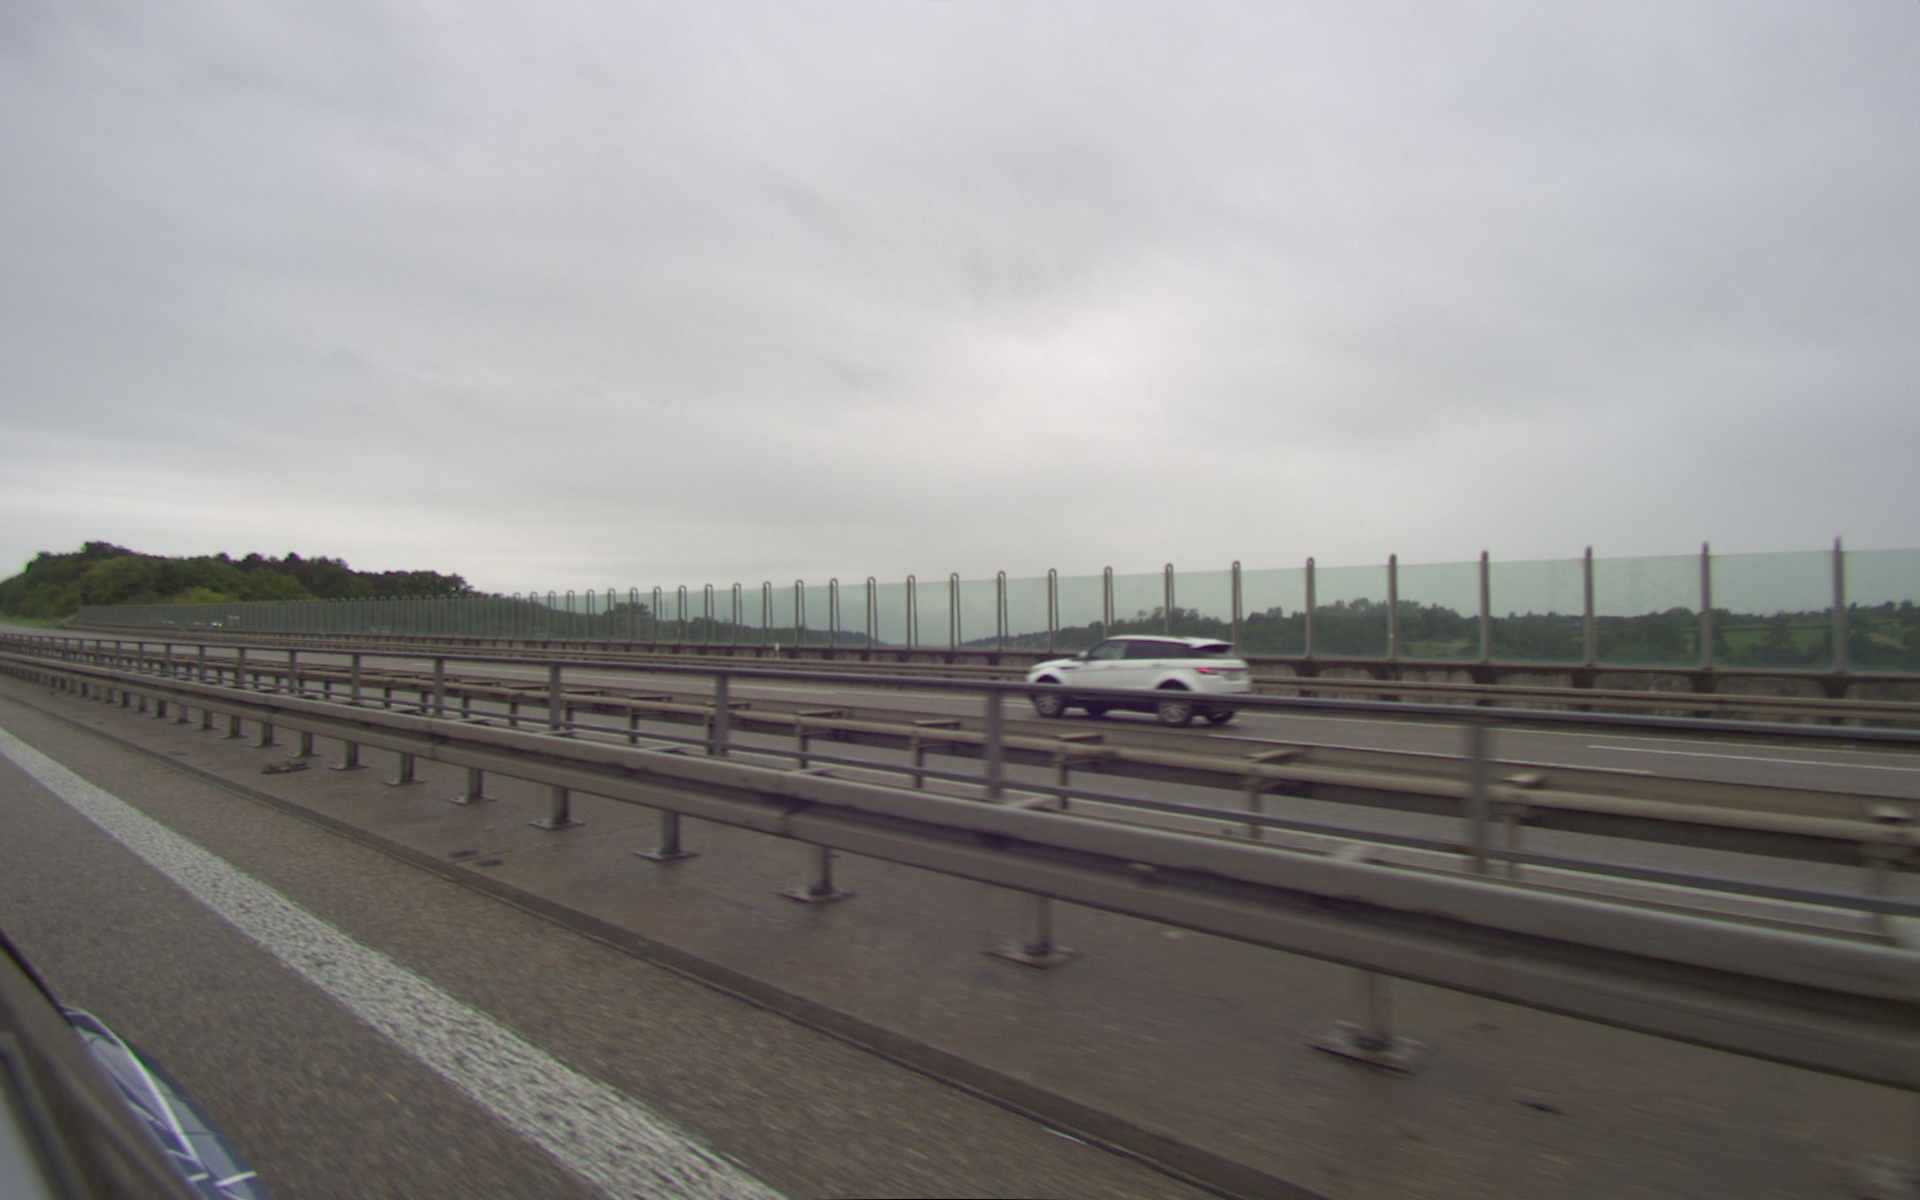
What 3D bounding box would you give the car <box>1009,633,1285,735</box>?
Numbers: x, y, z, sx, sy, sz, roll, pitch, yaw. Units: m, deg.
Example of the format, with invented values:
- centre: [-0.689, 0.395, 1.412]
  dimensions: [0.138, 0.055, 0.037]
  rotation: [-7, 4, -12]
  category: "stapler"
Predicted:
- centre: [3.364, 1.449, 18.802]
  dimensions: [4.711, 1.642, 1.973]
  rotation: [-1, -3, 41]
  category: "car"
